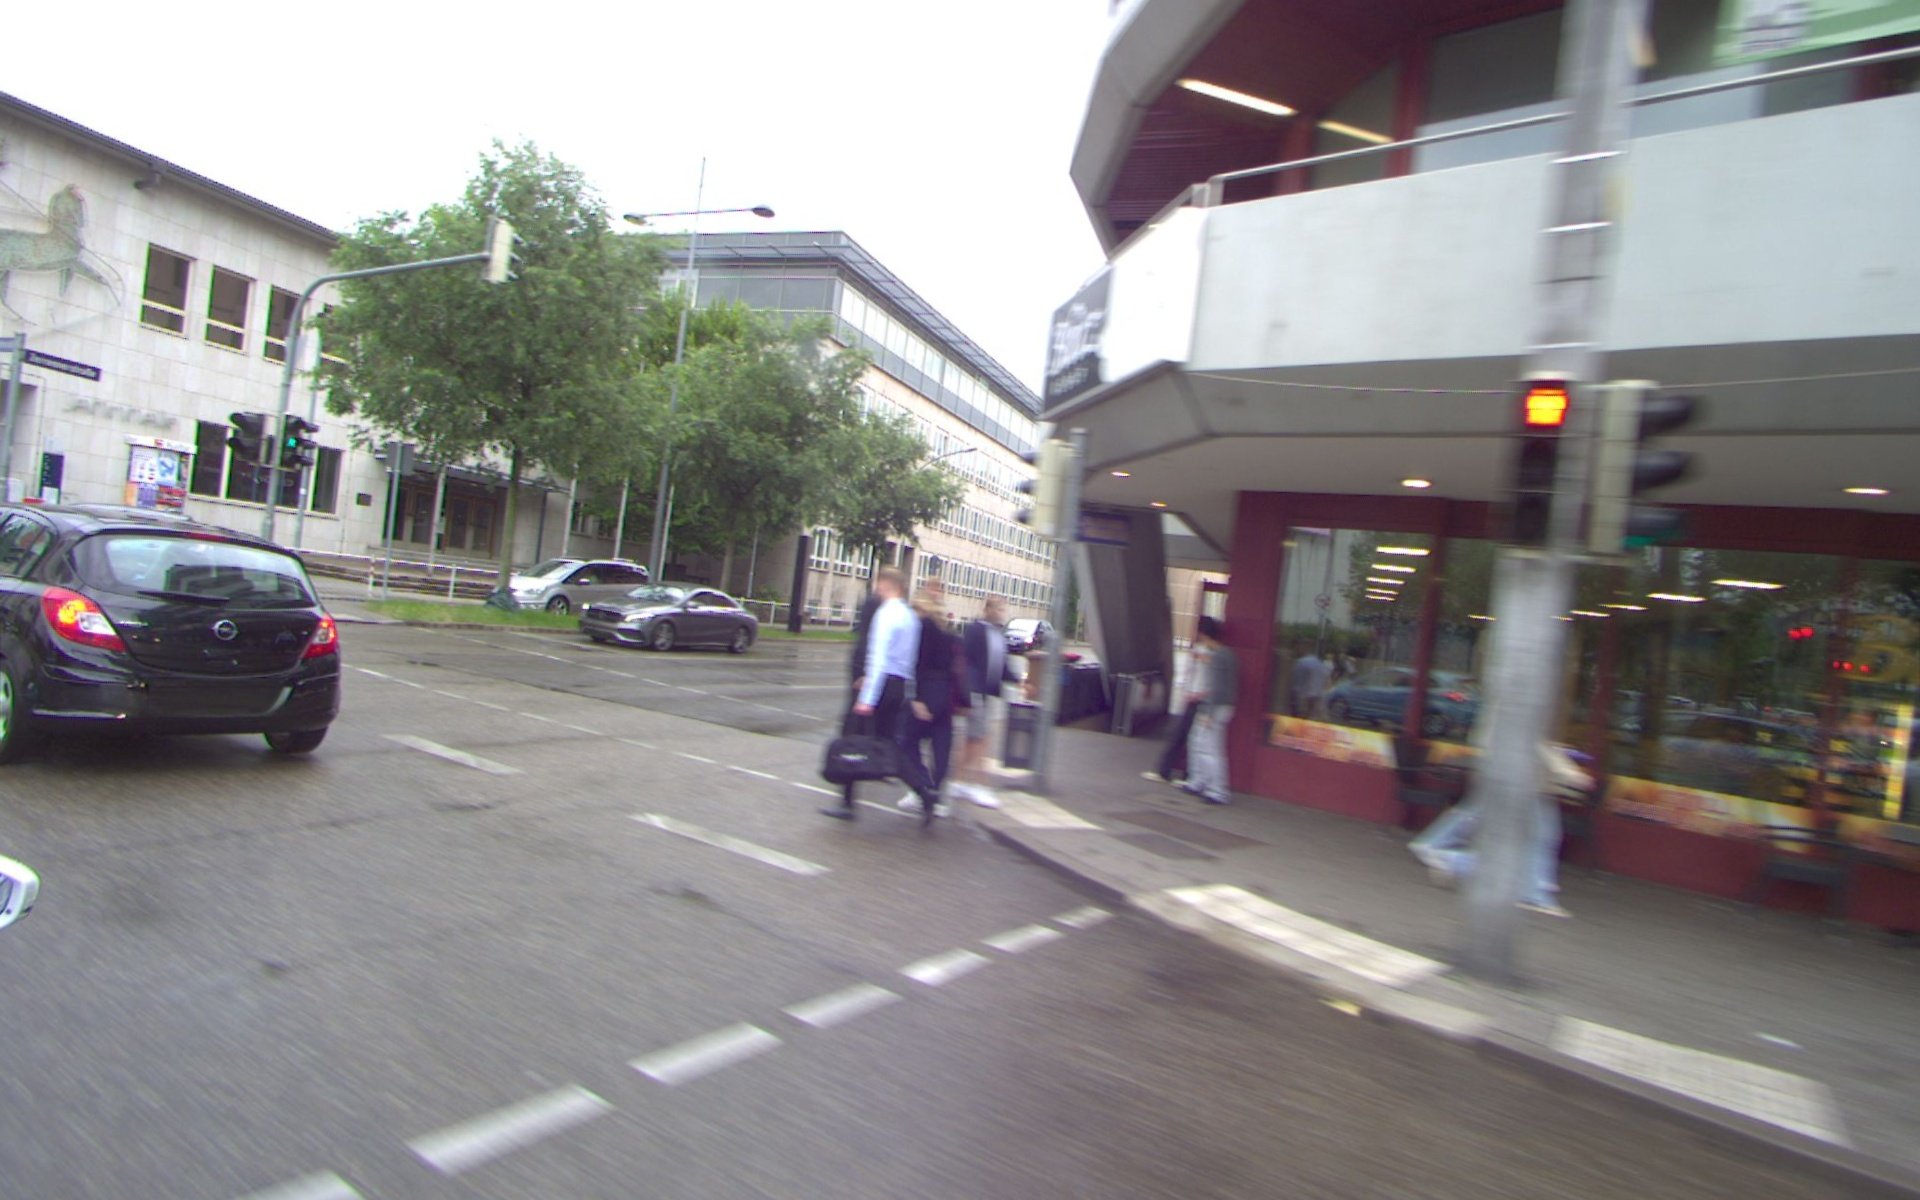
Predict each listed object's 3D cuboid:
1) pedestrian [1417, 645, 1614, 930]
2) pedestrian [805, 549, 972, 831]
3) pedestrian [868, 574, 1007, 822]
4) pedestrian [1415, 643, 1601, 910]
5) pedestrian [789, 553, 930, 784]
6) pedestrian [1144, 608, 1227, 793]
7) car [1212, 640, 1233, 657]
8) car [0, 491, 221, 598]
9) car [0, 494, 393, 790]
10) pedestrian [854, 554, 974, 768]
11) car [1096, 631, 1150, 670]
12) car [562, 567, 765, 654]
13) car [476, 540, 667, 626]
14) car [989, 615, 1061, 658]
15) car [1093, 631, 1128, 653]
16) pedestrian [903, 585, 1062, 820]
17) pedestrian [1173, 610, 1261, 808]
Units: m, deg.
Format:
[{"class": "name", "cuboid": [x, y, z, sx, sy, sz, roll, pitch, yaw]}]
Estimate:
[{"class": "pedestrian", "cuboid": [3.741, 1.205, 6.790, 0.926, 1.685, 0.573, 7, 2, 37]}, {"class": "pedestrian", "cuboid": [-0.514, 0.614, 7.212, 0.836, 1.868, 0.621, 4, -2, 41]}, {"class": "pedestrian", "cuboid": [-0.173, 0.738, 7.790, 0.668, 1.794, 0.621, 4, -2, 41]}, {"class": "pedestrian", "cuboid": [4.025, 1.241, 7.403, 0.956, 1.728, 0.588, 7, 2, 37]}, {"class": "pedestrian", "cuboid": [-0.896, 0.598, 9.010, 0.777, 1.924, 0.759, 5, -1, 35]}, {"class": "pedestrian", "cuboid": [2.283, 1.008, 10.181, 0.503, 1.784, 0.526, 5, -2, 35]}, {"class": "car", "cuboid": [29.725, 5.513, 113.874, 1.769, 1.486, 4.003, 7, -3, 21]}, {"class": "car", "cuboid": [-16.629, -1.065, 19.163, 3.967, 1.493, 1.981, 9, -2, -37]}, {"class": "car", "cuboid": [-5.826, 0.129, 6.794, 3.679, 1.474, 1.712, 7, -2, 30]}, {"class": "pedestrian", "cuboid": [-0.431, 0.572, 9.600, 0.666, 1.918, 0.733, 5, -1, 34]}, {"class": "car", "cuboid": [8.460, 2.651, 52.062, 1.775, 1.568, 4.005, 5, -4, 23]}, {"class": "car", "cuboid": [-6.147, 0.297, 21.411, 1.755, 1.437, 4.273, 7, -1, 22]}, {"class": "car", "cuboid": [-10.160, -0.381, 26.734, 1.823, 1.780, 4.606, 6, -1, 26]}, {"class": "car", "cuboid": [2.958, 1.664, 44.909, 1.852, 1.615, 3.999, 7, 0, 23]}, {"class": "car", "cuboid": [12.254, 3.416, 81.548, 1.770, 1.487, 3.999, 7, -1, 23]}, {"class": "pedestrian", "cuboid": [0.200, 0.851, 8.572, 0.873, 1.800, 0.750, 7, -1, 31]}, {"class": "pedestrian", "cuboid": [2.450, 1.020, 9.570, 0.485, 1.784, 0.595, 5, -2, 35]}]
